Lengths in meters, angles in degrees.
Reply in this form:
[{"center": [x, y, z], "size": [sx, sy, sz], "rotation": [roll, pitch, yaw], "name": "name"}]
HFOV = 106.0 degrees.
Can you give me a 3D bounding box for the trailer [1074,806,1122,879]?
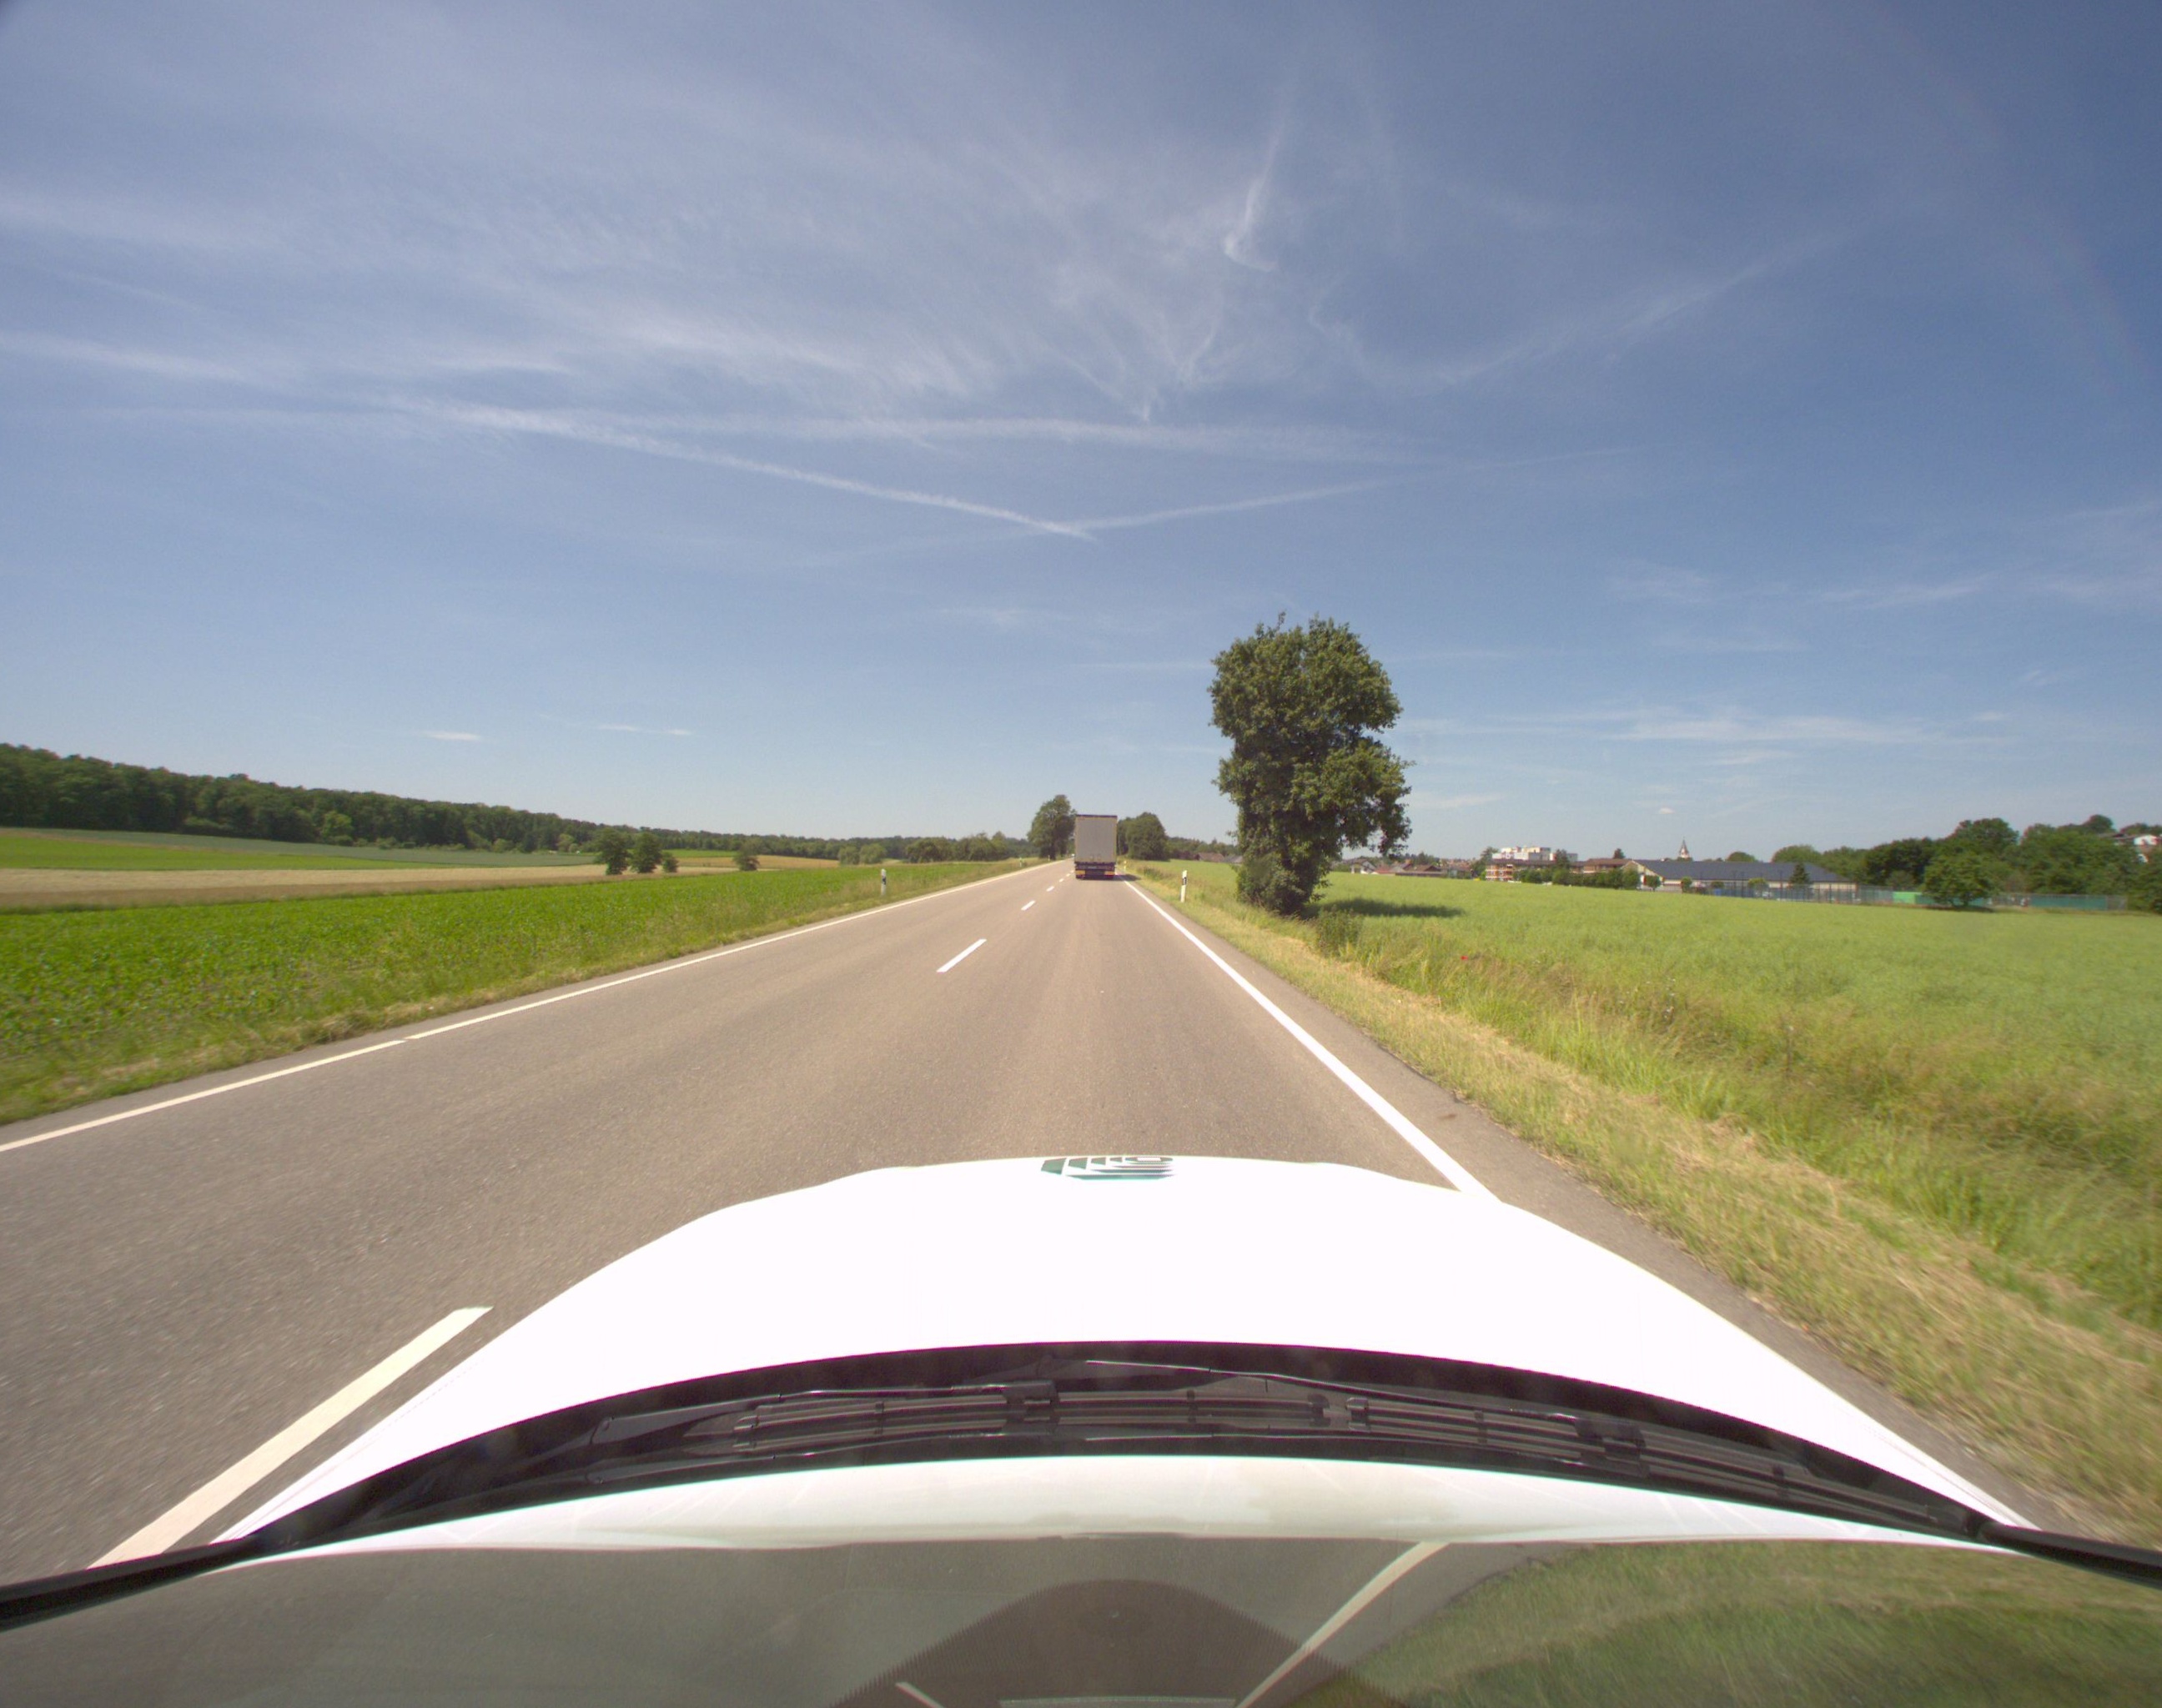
[{"center": [0.951, -0.696, 55.765], "size": [2.858, 4.400, 13.488], "rotation": [1, 0, -1], "name": "trailer"}]
